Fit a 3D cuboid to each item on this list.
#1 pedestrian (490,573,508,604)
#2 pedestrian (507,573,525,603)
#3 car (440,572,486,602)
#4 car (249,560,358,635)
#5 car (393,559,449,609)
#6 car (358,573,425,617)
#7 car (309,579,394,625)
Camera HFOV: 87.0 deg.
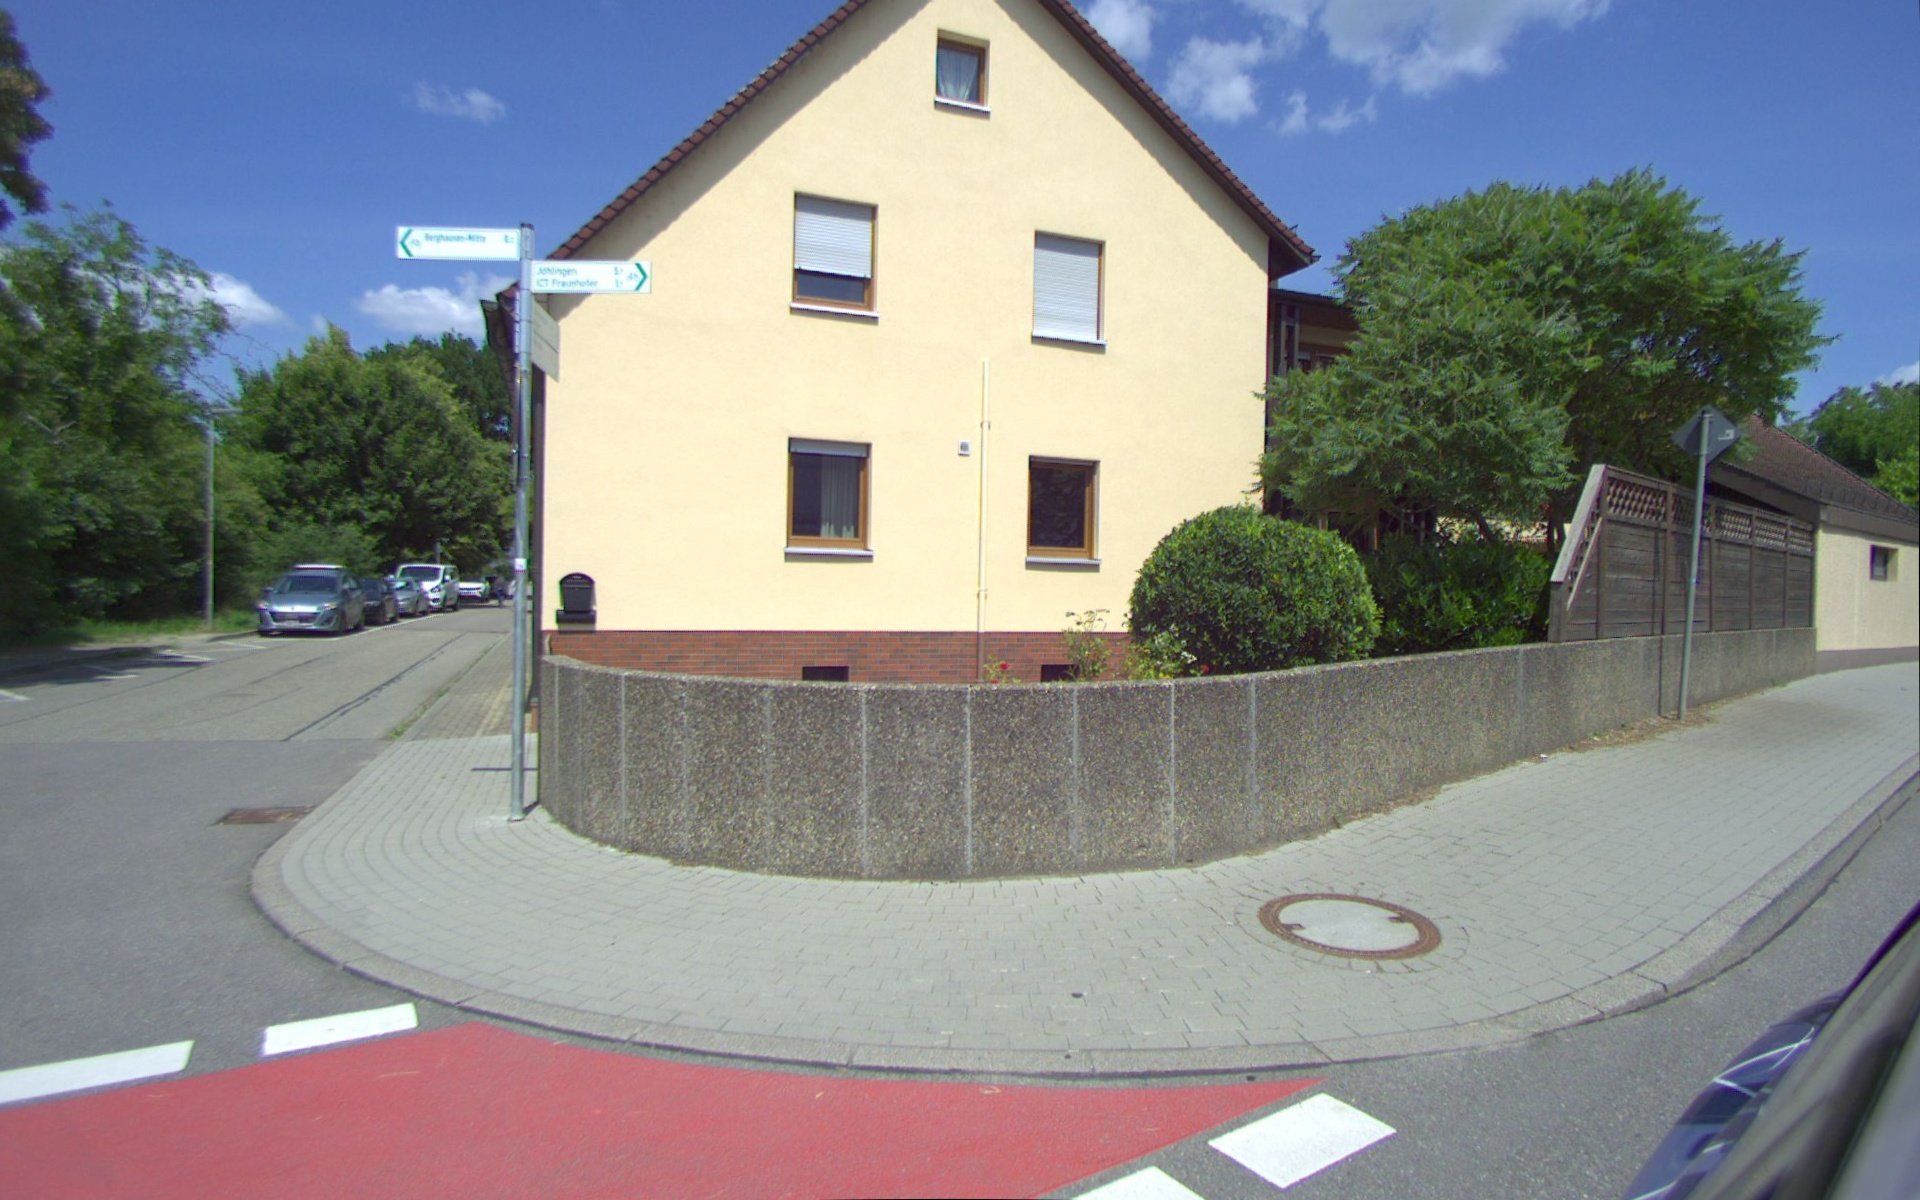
[{"bbox_3d":[-24.840,-0.635,54.541,0.777,1.638,0.690,1,0,-32],"label":"pedestrian"},{"bbox_3d":[-24.142,-0.643,55.009,0.777,1.638,0.690,1,0,-32],"label":"pedestrian"},{"bbox_3d":[-28.444,-0.759,58.041,1.958,1.616,4.009,1,1,-21],"label":"car"},{"bbox_3d":[-16.412,-0.093,25.494,1.788,1.718,4.267,0,1,-26],"label":"car"},{"bbox_3d":[-22.078,-0.654,41.565,1.787,1.946,4.007,0,1,-25],"label":"car"},{"bbox_3d":[-20.450,-0.198,36.543,1.787,1.484,4.007,0,1,-25],"label":"car"},{"bbox_3d":[-18.445,0.032,30.834,1.787,1.285,4.007,0,1,-25],"label":"car"}]
